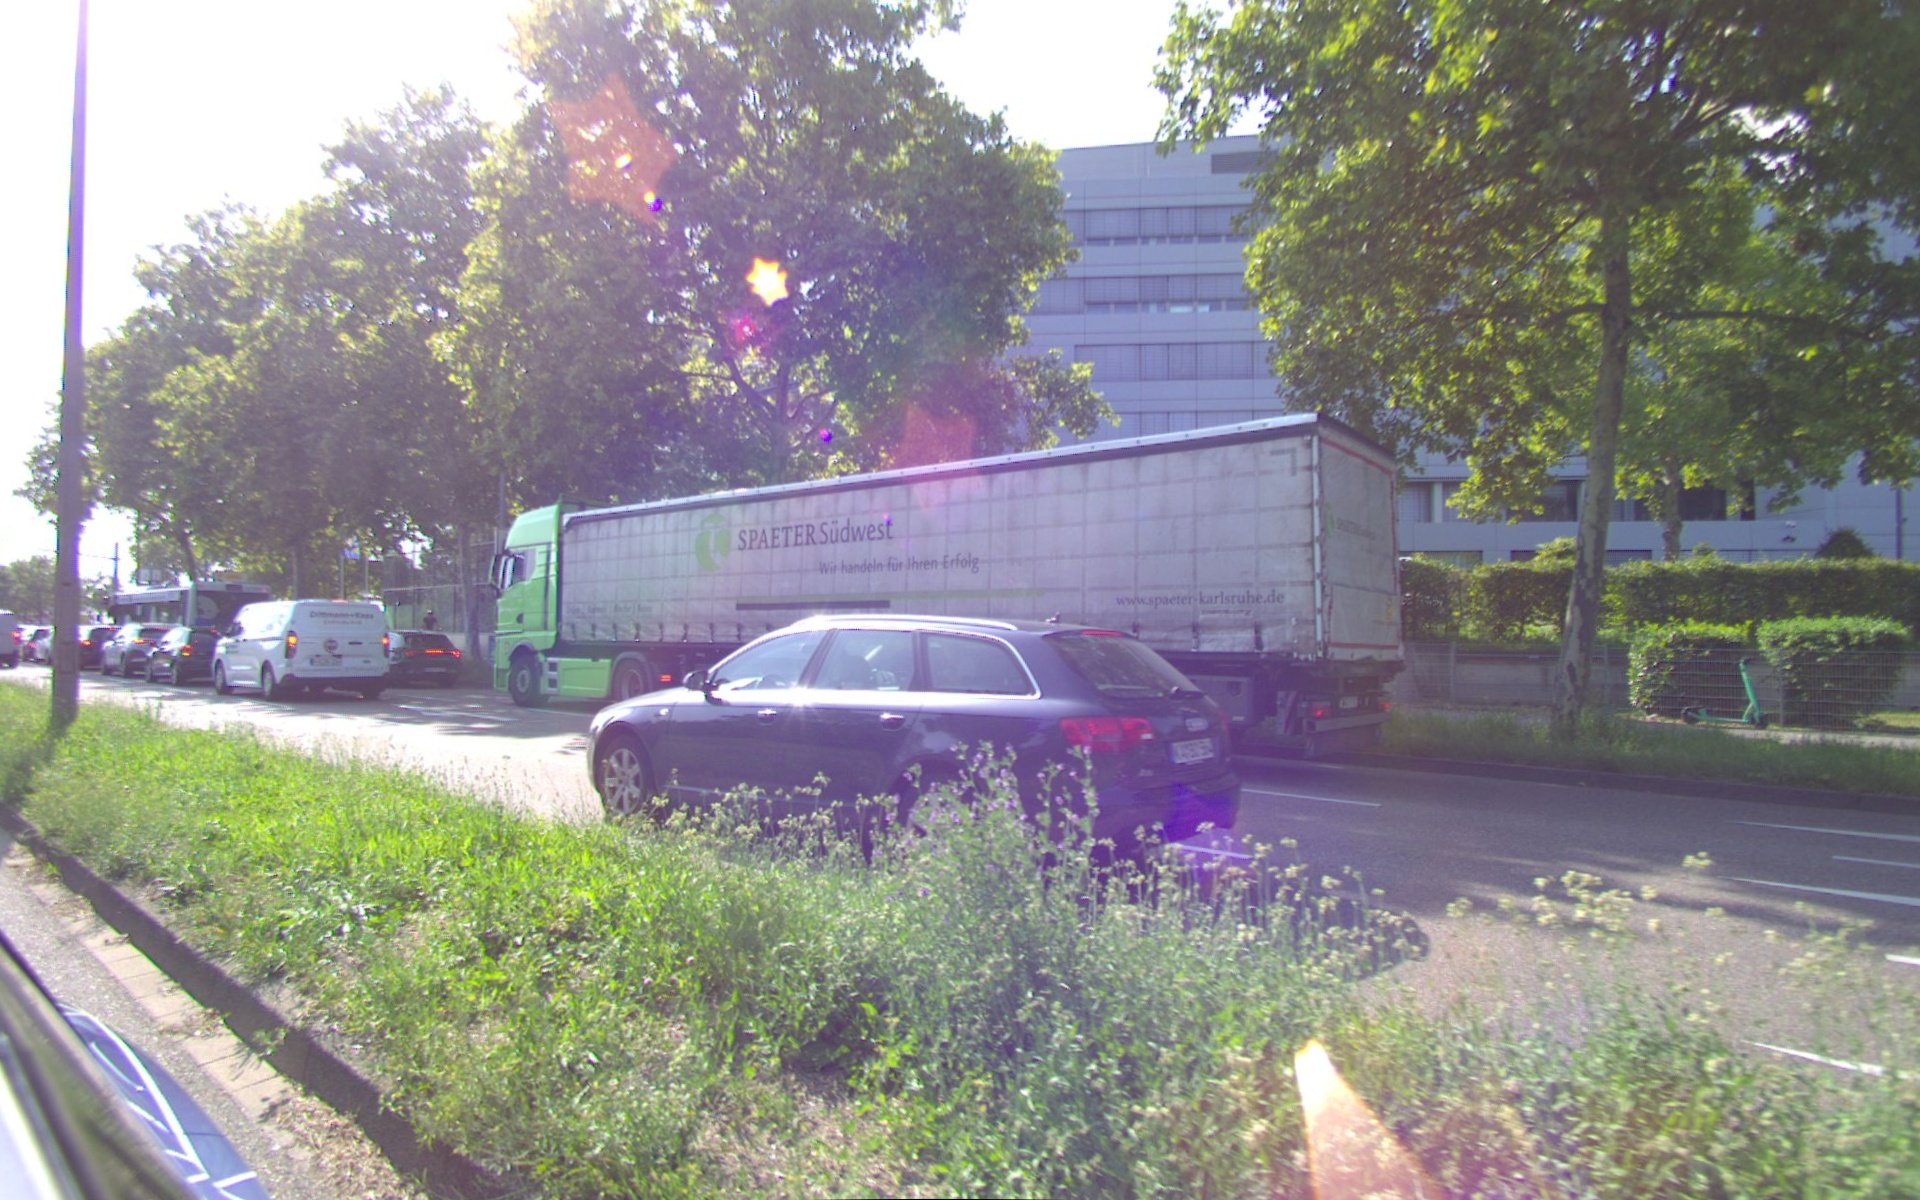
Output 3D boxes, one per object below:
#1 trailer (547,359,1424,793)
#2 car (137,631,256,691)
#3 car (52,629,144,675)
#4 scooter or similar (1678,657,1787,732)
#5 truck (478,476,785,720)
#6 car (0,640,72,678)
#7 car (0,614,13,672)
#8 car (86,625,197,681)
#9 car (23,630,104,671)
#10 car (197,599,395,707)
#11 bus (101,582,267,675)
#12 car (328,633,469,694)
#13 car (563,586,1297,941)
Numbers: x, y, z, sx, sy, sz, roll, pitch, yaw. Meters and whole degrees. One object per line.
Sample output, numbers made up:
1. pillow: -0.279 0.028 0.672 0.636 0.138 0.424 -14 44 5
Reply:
1. trailer: -1.083 -0.039 14.411 13.799 3.851 2.606 -1 -4 40
2. car: -19.356 1.509 25.600 3.855 1.409 1.597 -1 -4 41
3. car: -28.949 1.735 33.948 4.186 1.444 1.630 -1 -4 40
4. scooter or similar: 12.672 1.534 16.618 1.380 1.136 0.503 -1 -2 41
5. truck: -6.215 0.078 18.778 5.886 3.849 2.581 -1 -4 40
6. car: -38.286 2.423 41.877 3.996 1.453 1.689 -1 -4 40
7. car: -33.737 1.459 34.174 4.885 1.878 1.892 -2 -4 39
8. car: -23.855 1.520 29.460 4.136 1.540 1.677 -1 -4 40
9. car: -33.959 1.928 38.310 3.818 1.478 1.689 -3 -5 40
10. car: -13.786 1.048 20.894 5.031 1.968 1.973 -1 -3 40
11. bus: -30.184 1.083 39.046 12.303 3.103 2.564 -1 -2 40
12. car: -14.524 1.595 26.059 4.476 1.422 1.630 -1 -4 40
13. car: -0.440 0.771 6.387 4.580 1.490 1.729 -1 -4 38
